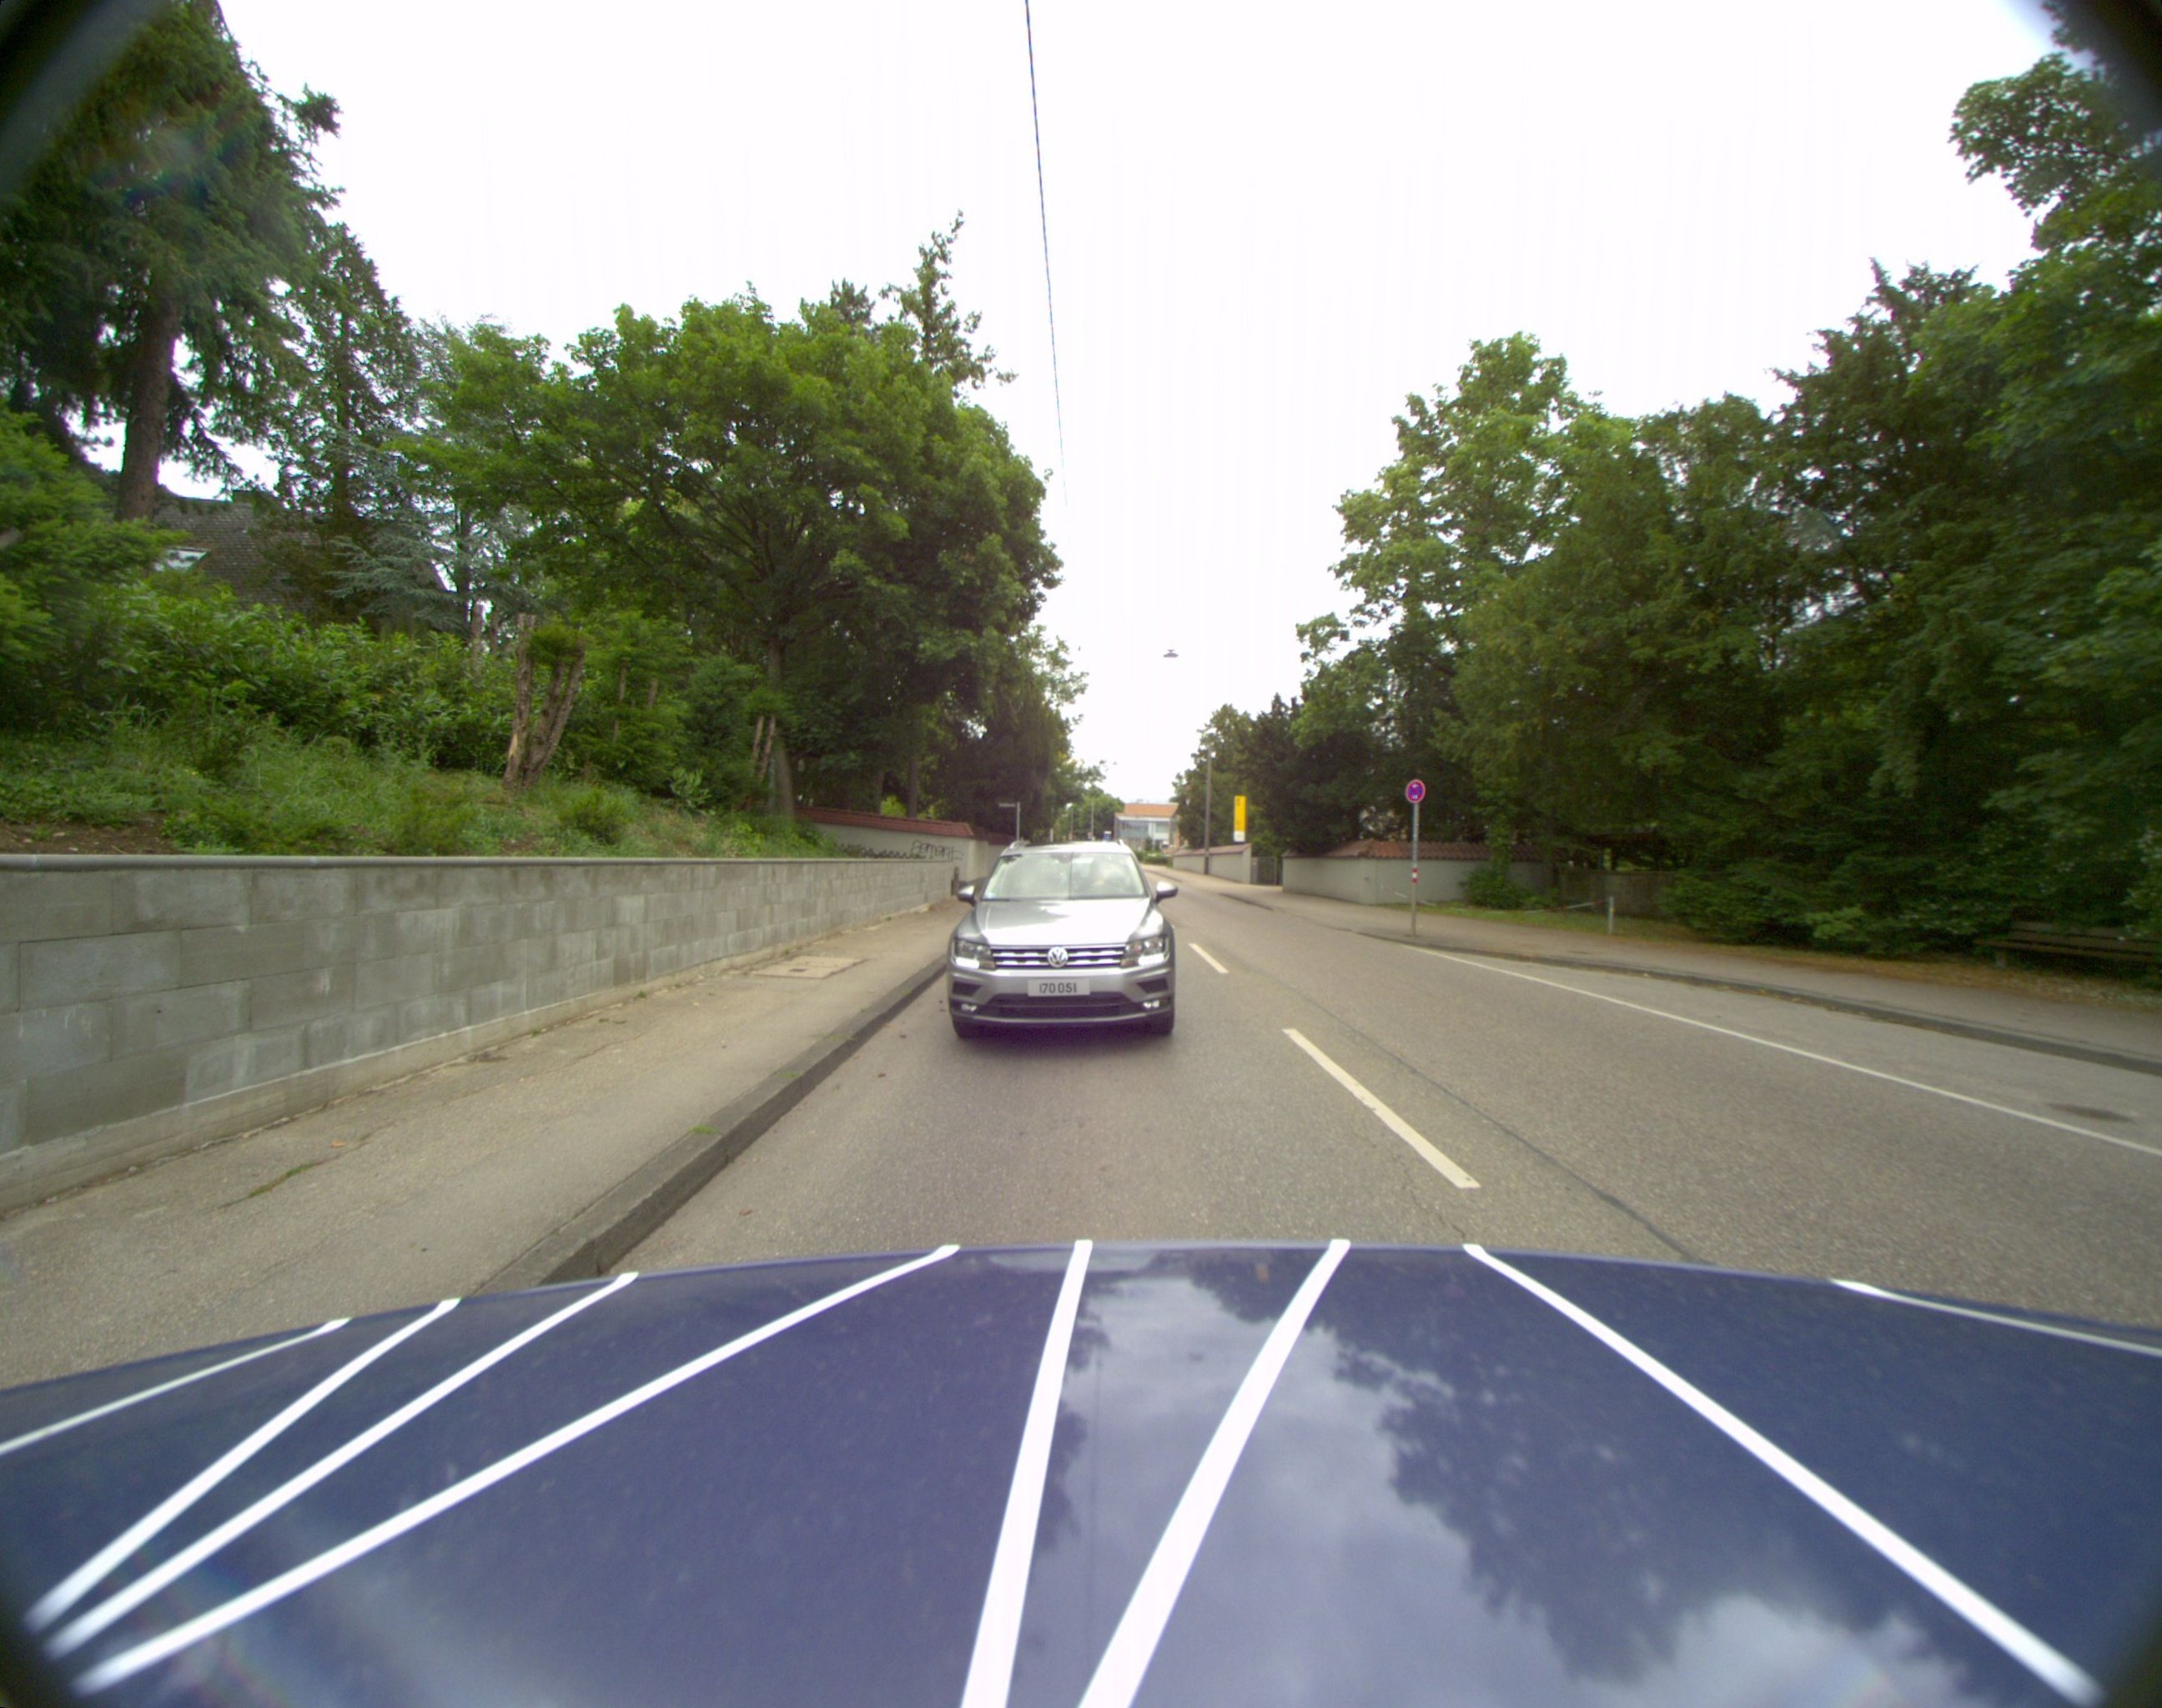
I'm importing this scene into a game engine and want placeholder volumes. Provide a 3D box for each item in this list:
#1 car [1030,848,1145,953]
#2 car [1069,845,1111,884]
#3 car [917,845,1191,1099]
[{"bbox_3d":[0.111,0.718,14.305,1.820,1.647,4.487,0,1,0],"label":"car"},{"bbox_3d":[0.413,0.455,35.876,1.820,1.733,4.487,0,1,0],"label":"car"},{"bbox_3d":[-0.169,0.785,7.521,1.820,1.690,4.718,-1,0,0],"label":"car"}]
